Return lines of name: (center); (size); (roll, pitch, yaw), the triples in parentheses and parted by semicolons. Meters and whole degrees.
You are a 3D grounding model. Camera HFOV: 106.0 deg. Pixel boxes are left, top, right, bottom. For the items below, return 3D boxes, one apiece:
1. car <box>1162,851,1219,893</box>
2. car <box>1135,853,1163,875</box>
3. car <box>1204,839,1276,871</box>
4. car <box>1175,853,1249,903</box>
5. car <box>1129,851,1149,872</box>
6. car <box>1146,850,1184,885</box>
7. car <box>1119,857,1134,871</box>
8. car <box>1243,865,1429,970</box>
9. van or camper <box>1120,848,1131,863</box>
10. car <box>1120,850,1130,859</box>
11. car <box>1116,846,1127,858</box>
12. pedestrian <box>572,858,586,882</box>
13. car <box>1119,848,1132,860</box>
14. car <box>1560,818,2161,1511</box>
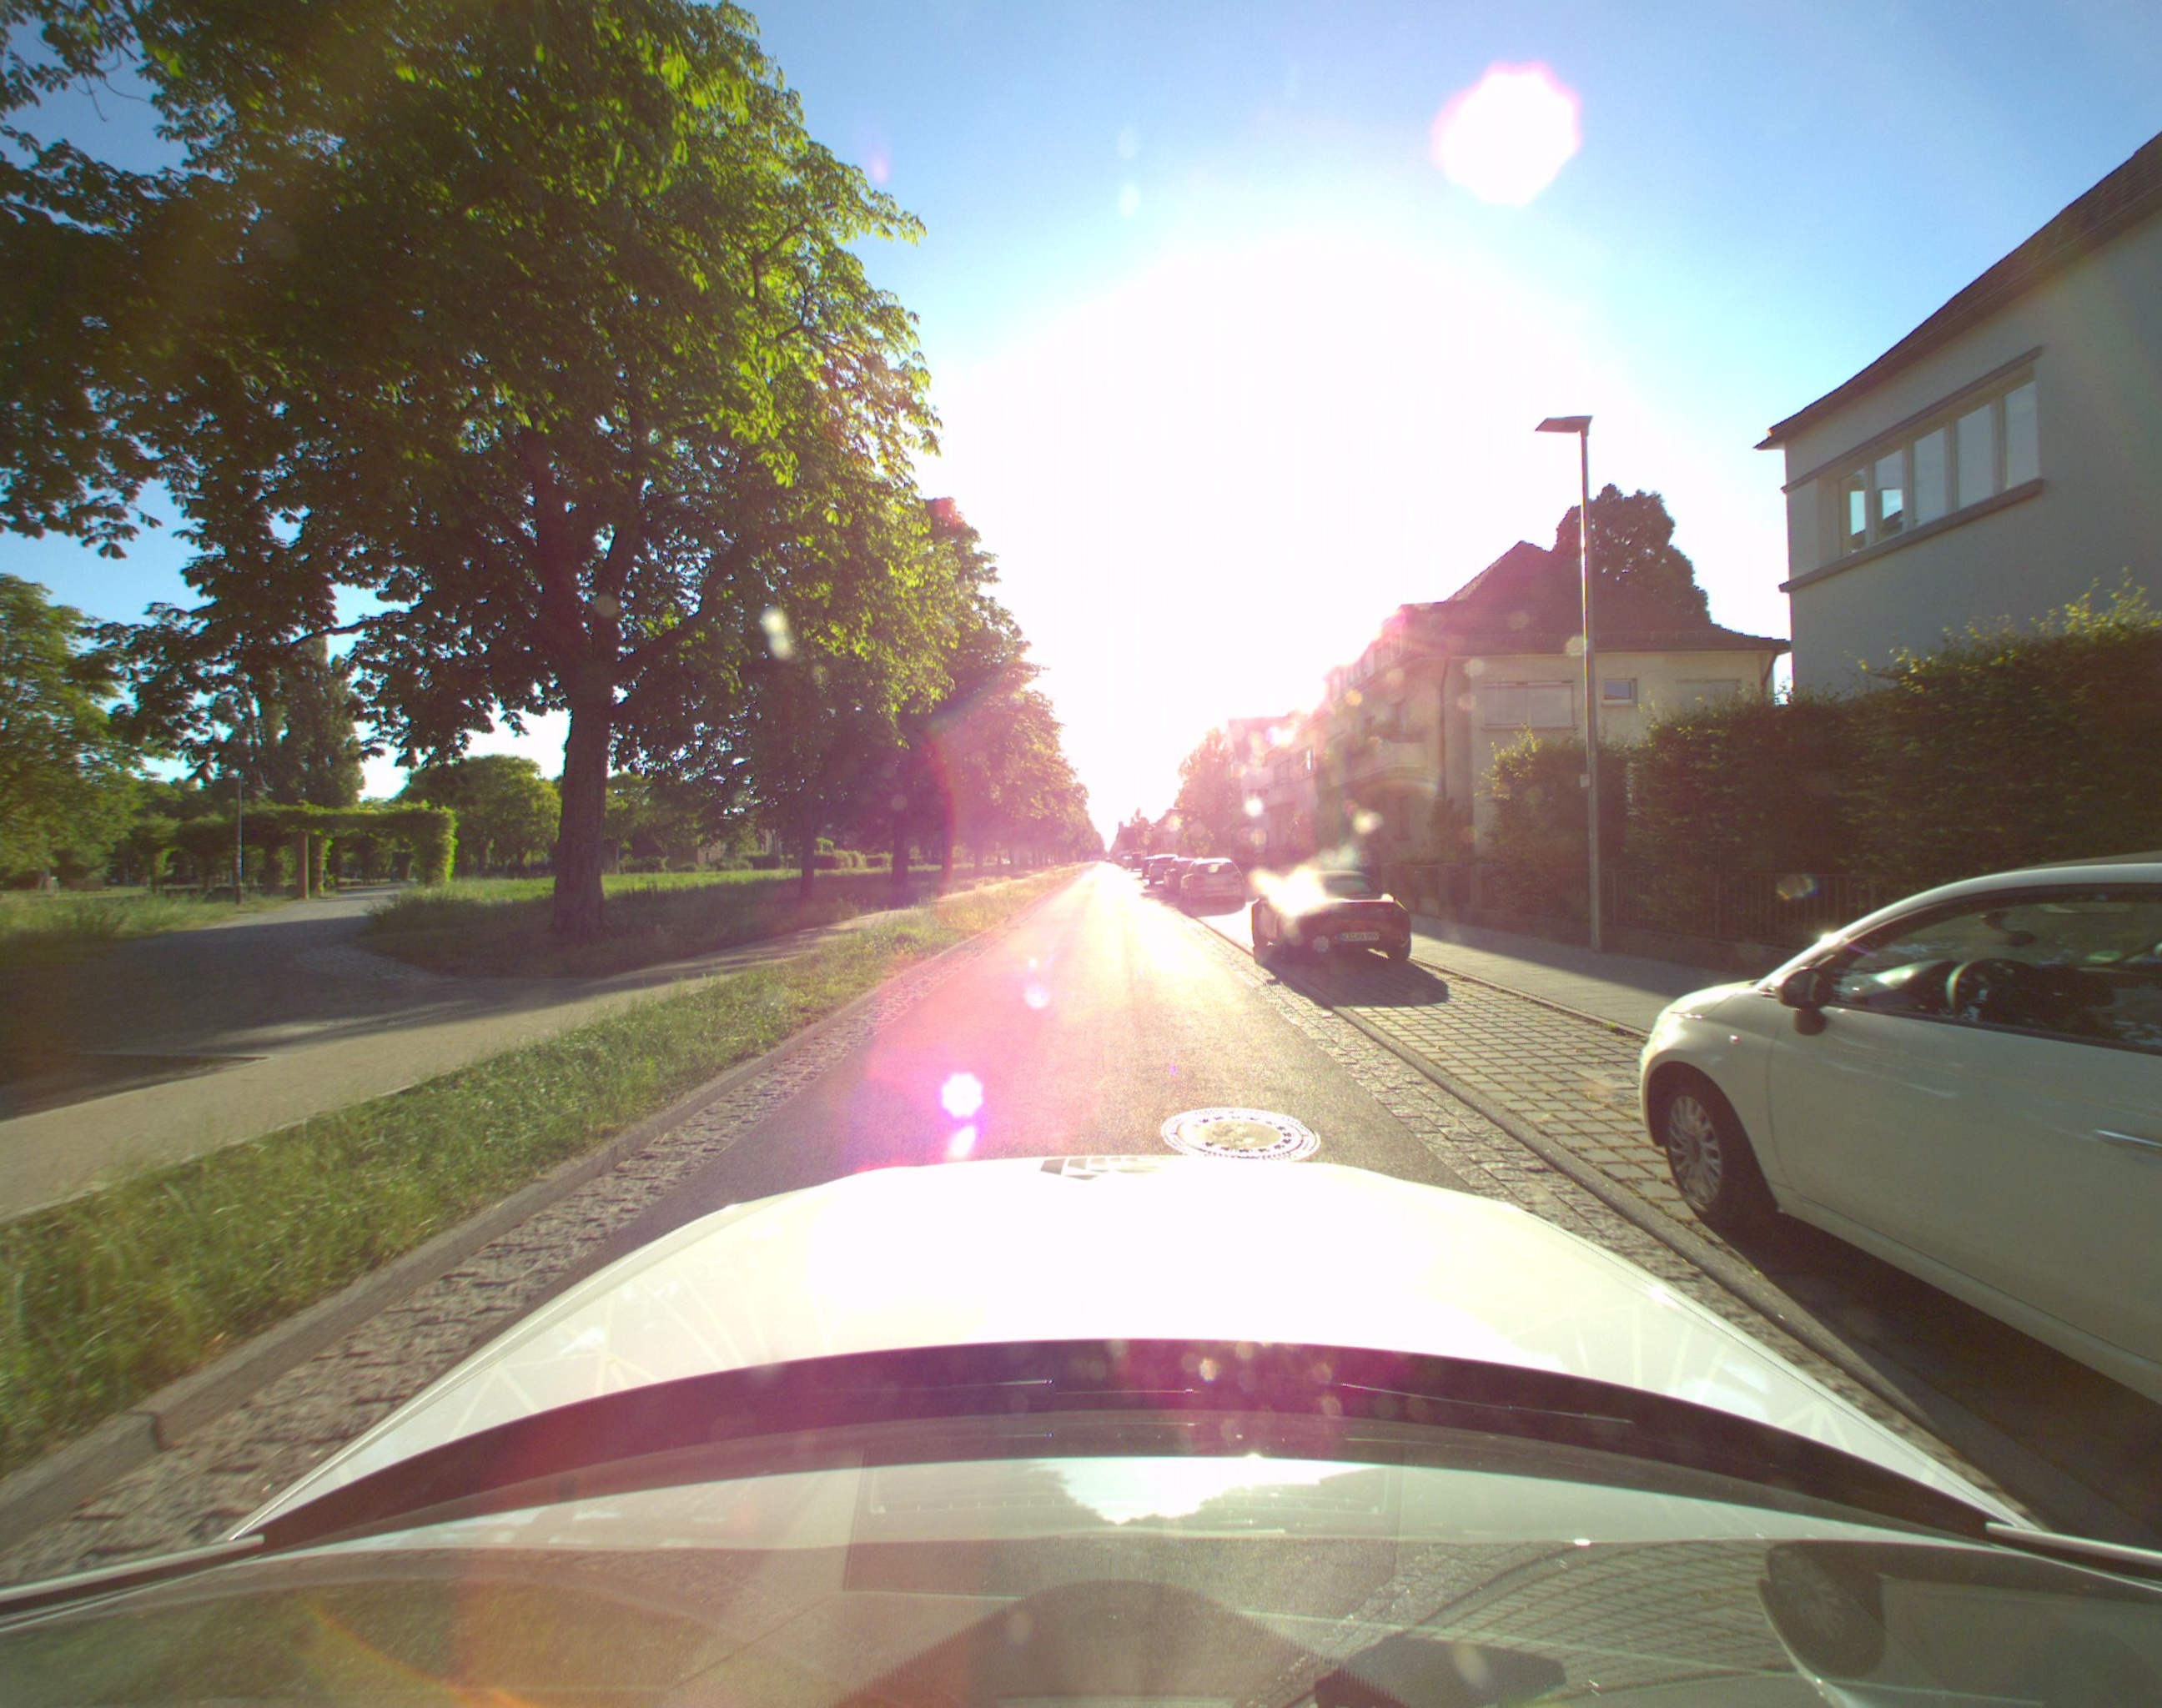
car: (4.405, 0.697, 33.248); (1.787, 1.494, 4.196); (-4, 0, 2)
car: (5.000, 0.718, 60.224); (1.787, 1.482, 4.125); (-4, 0, 2)
car: (9.565, 0.031, 49.284); (3.975, 1.844, 1.813); (0, 1, -4)
car: (4.161, 0.720, 26.396); (1.787, 1.380, 4.080); (-4, 0, 2)
car: (6.414, 0.792, 90.470); (1.898, 2.131, 4.818); (-4, 0, 3)
car: (4.563, 0.756, 44.777); (1.897, 1.708, 4.580); (-4, -2, 4)
car: (5.946, 1.289, 106.656); (1.787, 1.771, 4.474); (-4, 0, 2)
car: (3.653, 0.837, 12.382); (1.692, 1.257, 3.881); (-2, -1, 2)
van or camper: (8.325, 0.251, 151.960); (1.936, 2.777, 5.942); (0, -1, 2)
car: (7.805, 0.029, 145.639); (1.657, 1.593, 4.088); (0, 0, 2)
car: (9.011, -0.458, 182.287); (2.119, 2.532, 5.188); (-3, 0, 0)
pedestrian: (-36.626, 1.173, 59.445); (0.779, 1.724, 0.710); (0, -1, -27)
car: (6.434, 0.035, 118.886); (1.825, 1.685, 4.417); (0, 1, 2)
car: (3.090, 0.652, 2.287); (1.499, 1.480, 3.495); (-3, 0, 2)
